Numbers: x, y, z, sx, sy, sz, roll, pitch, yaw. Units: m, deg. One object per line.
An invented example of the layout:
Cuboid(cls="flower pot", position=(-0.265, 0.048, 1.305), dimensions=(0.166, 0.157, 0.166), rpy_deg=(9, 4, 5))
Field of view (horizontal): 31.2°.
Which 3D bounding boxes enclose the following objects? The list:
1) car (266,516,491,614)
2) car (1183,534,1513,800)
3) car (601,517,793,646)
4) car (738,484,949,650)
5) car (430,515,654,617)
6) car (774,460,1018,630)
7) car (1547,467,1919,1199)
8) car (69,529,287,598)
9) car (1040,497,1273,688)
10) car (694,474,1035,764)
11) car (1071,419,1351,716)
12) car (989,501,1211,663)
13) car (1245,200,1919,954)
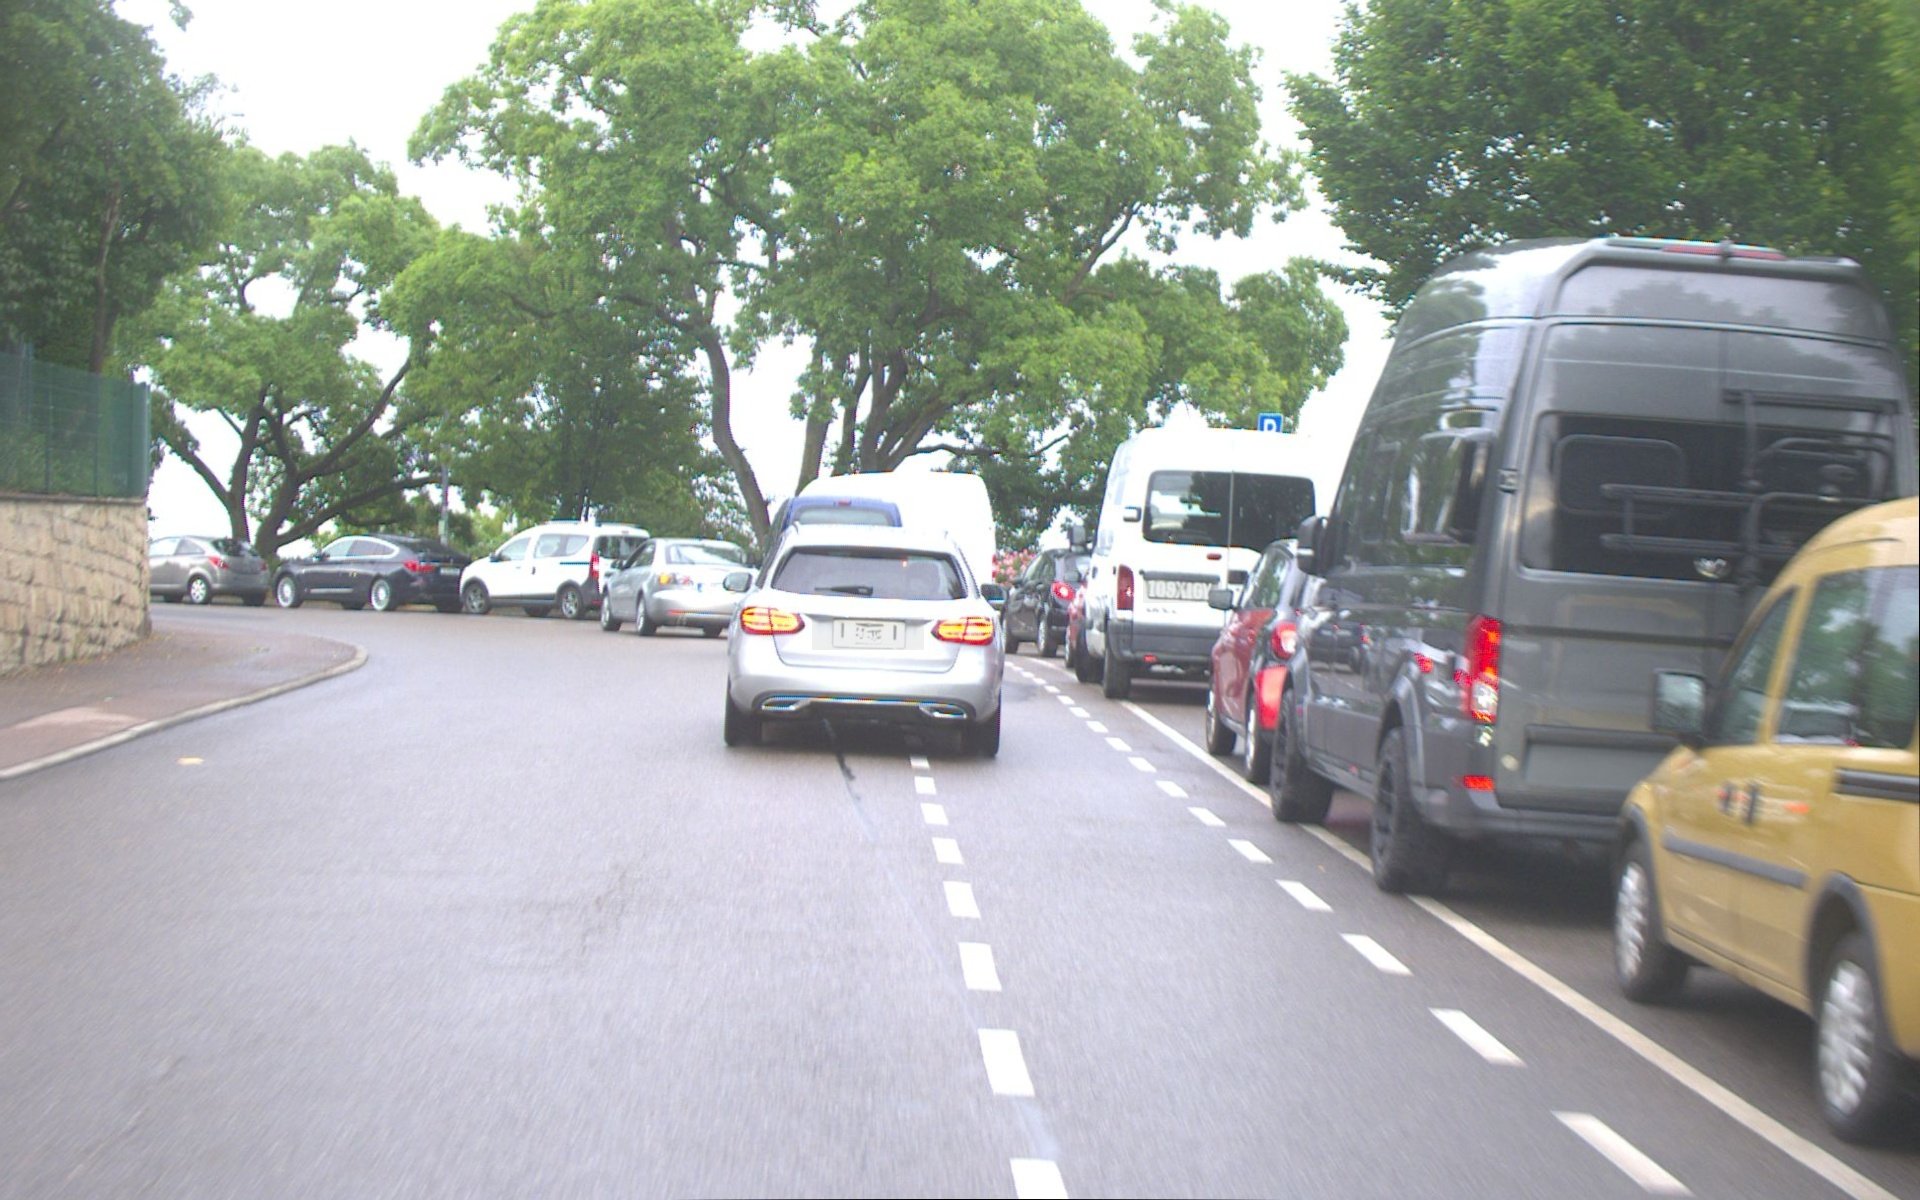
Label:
Cuboid(cls="car", position=(-11.730, -0.711, 69.175), dimensions=(4.667, 1.692, 1.965), rpy_deg=(4, 2, 43))
Cuboid(cls="car", position=(2.488, 0.377, 22.815), dimensions=(1.583, 1.522, 3.586), rpy_deg=(3, 1, -2))
Cuboid(cls="car", position=(-3.831, -0.283, 49.487), dimensions=(1.993, 1.702, 4.001), rpy_deg=(2, 0, -15))
Cuboid(cls="car", position=(-1.383, -0.370, 39.171), dimensions=(1.993, 1.702, 4.001), rpy_deg=(2, 0, -7))
Cuboid(cls="car", position=(-8.029, -0.665, 65.734), dimensions=(1.965, 1.692, 4.495), rpy_deg=(2, 2, -41))
Cuboid(cls="car", position=(-1.089, -0.928, 55.507), dimensions=(2.125, 2.518, 4.498), rpy_deg=(3, 1, -26))
Cuboid(cls="car", position=(3.105, 0.587, 10.363), dimensions=(1.727, 1.779, 4.276), rpy_deg=(5, 1, -1))
Cuboid(cls="car", position=(-16.549, -0.797, 72.705), dimensions=(4.490, 1.397, 1.967), rpy_deg=(1, 2, 34))
Cuboid(cls="car", position=(2.179, -0.144, 39.348), dimensions=(2.064, 1.953, 4.497), rpy_deg=(3, 1, -3))
Cuboid(cls="car", position=(-0.656, 0.067, 23.217), dimensions=(2.025, 1.702, 4.216), rpy_deg=(2, 1, -2))
Cuboid(cls="car", position=(2.275, -0.340, 32.437), dimensions=(2.064, 2.486, 4.760), rpy_deg=(3, 1, -1))
Cuboid(cls="car", position=(1.819, -0.293, 46.205), dimensions=(2.063, 1.953, 4.498), rpy_deg=(3, 1, -9))
Cuboid(cls="car", position=(2.857, -0.154, 16.474), dimensions=(2.124, 2.877, 5.770), rpy_deg=(3, 1, -2))
